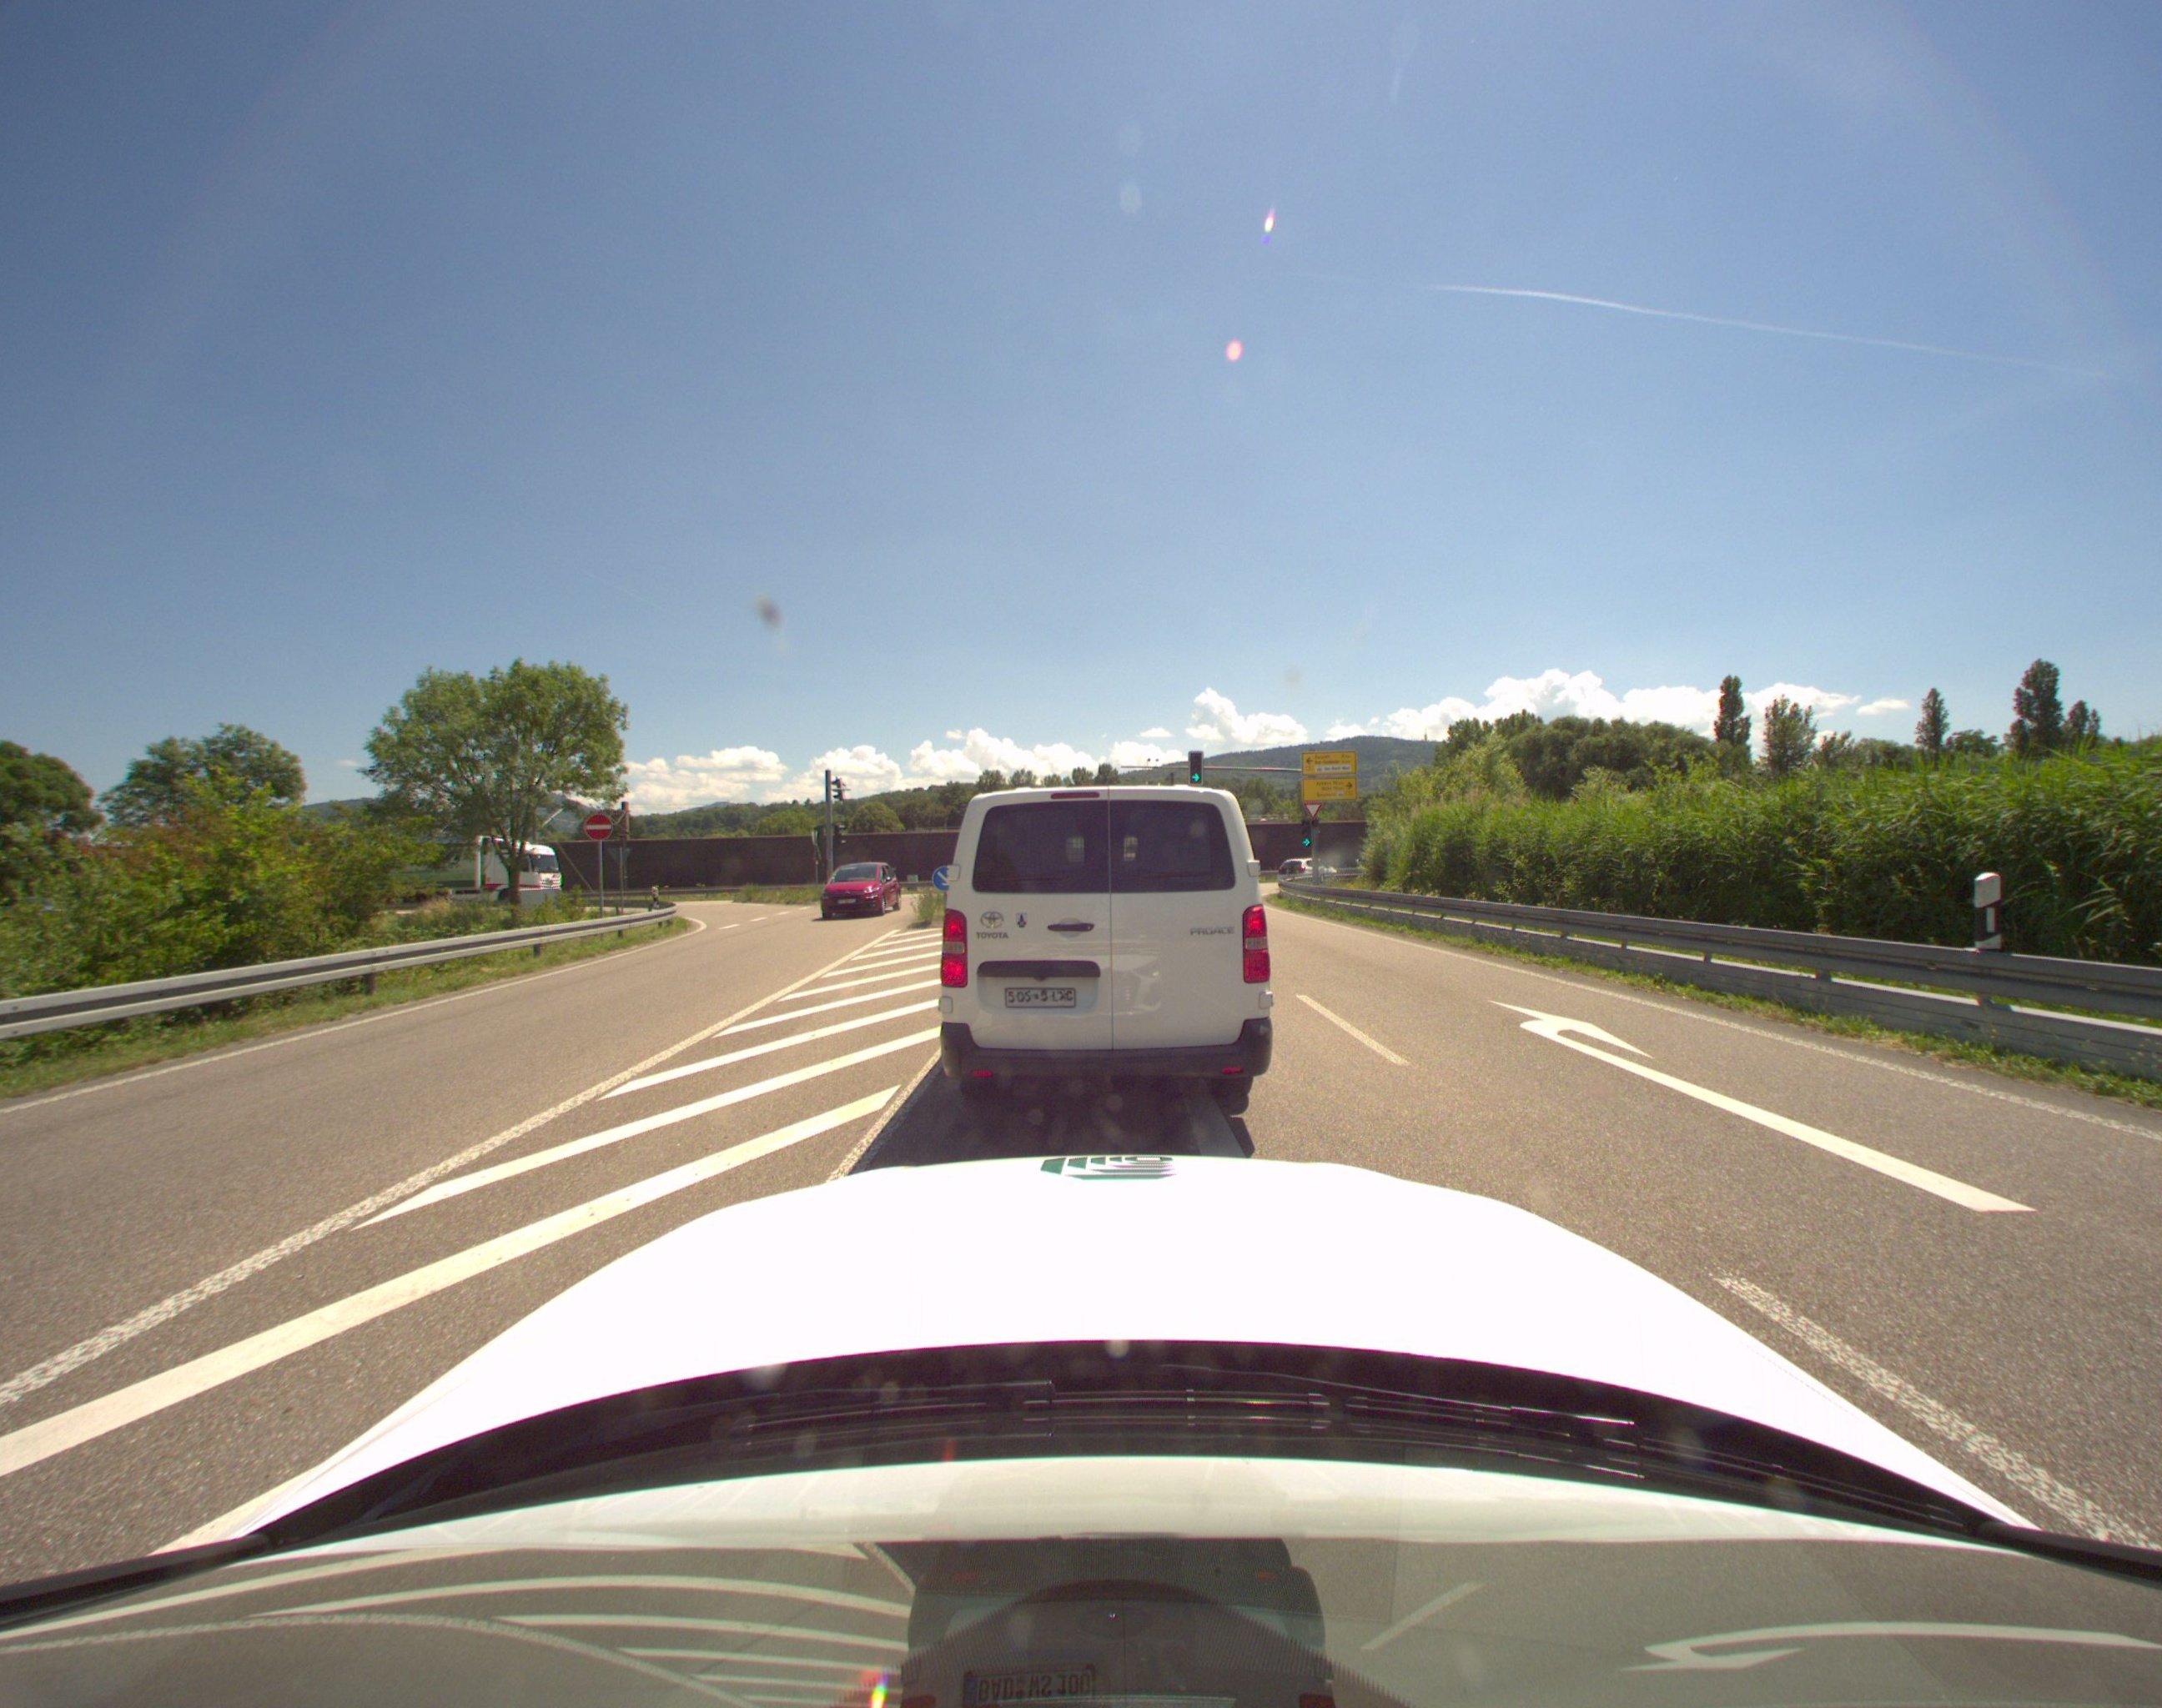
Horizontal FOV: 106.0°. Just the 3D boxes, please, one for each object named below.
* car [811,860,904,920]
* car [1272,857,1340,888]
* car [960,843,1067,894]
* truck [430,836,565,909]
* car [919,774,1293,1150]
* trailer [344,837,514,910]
[{"bbox_3d":[-6.923,1.067,25.728,1.990,1.656,4.317,-2,-1,-5],"label":"car"},{"bbox_3d":[11.111,0.896,40.170,3.383,1.431,1.641,0,-1,-41],"label":"car"},{"bbox_3d":[-3.448,0.710,42.351,5.390,2.451,2.015,-1,-1,-40],"label":"car"},{"bbox_3d":[-30.876,0.965,43.232,5.246,3.646,2.521,-1,-1,-1],"label":"truck"},{"bbox_3d":[0.163,0.572,6.150,1.880,1.886,4.000,-1,-1,1],"label":"car"},{"bbox_3d":[-34.416,1.021,43.170,6.872,3.646,2.521,-1,-1,-1],"label":"trailer"}]
